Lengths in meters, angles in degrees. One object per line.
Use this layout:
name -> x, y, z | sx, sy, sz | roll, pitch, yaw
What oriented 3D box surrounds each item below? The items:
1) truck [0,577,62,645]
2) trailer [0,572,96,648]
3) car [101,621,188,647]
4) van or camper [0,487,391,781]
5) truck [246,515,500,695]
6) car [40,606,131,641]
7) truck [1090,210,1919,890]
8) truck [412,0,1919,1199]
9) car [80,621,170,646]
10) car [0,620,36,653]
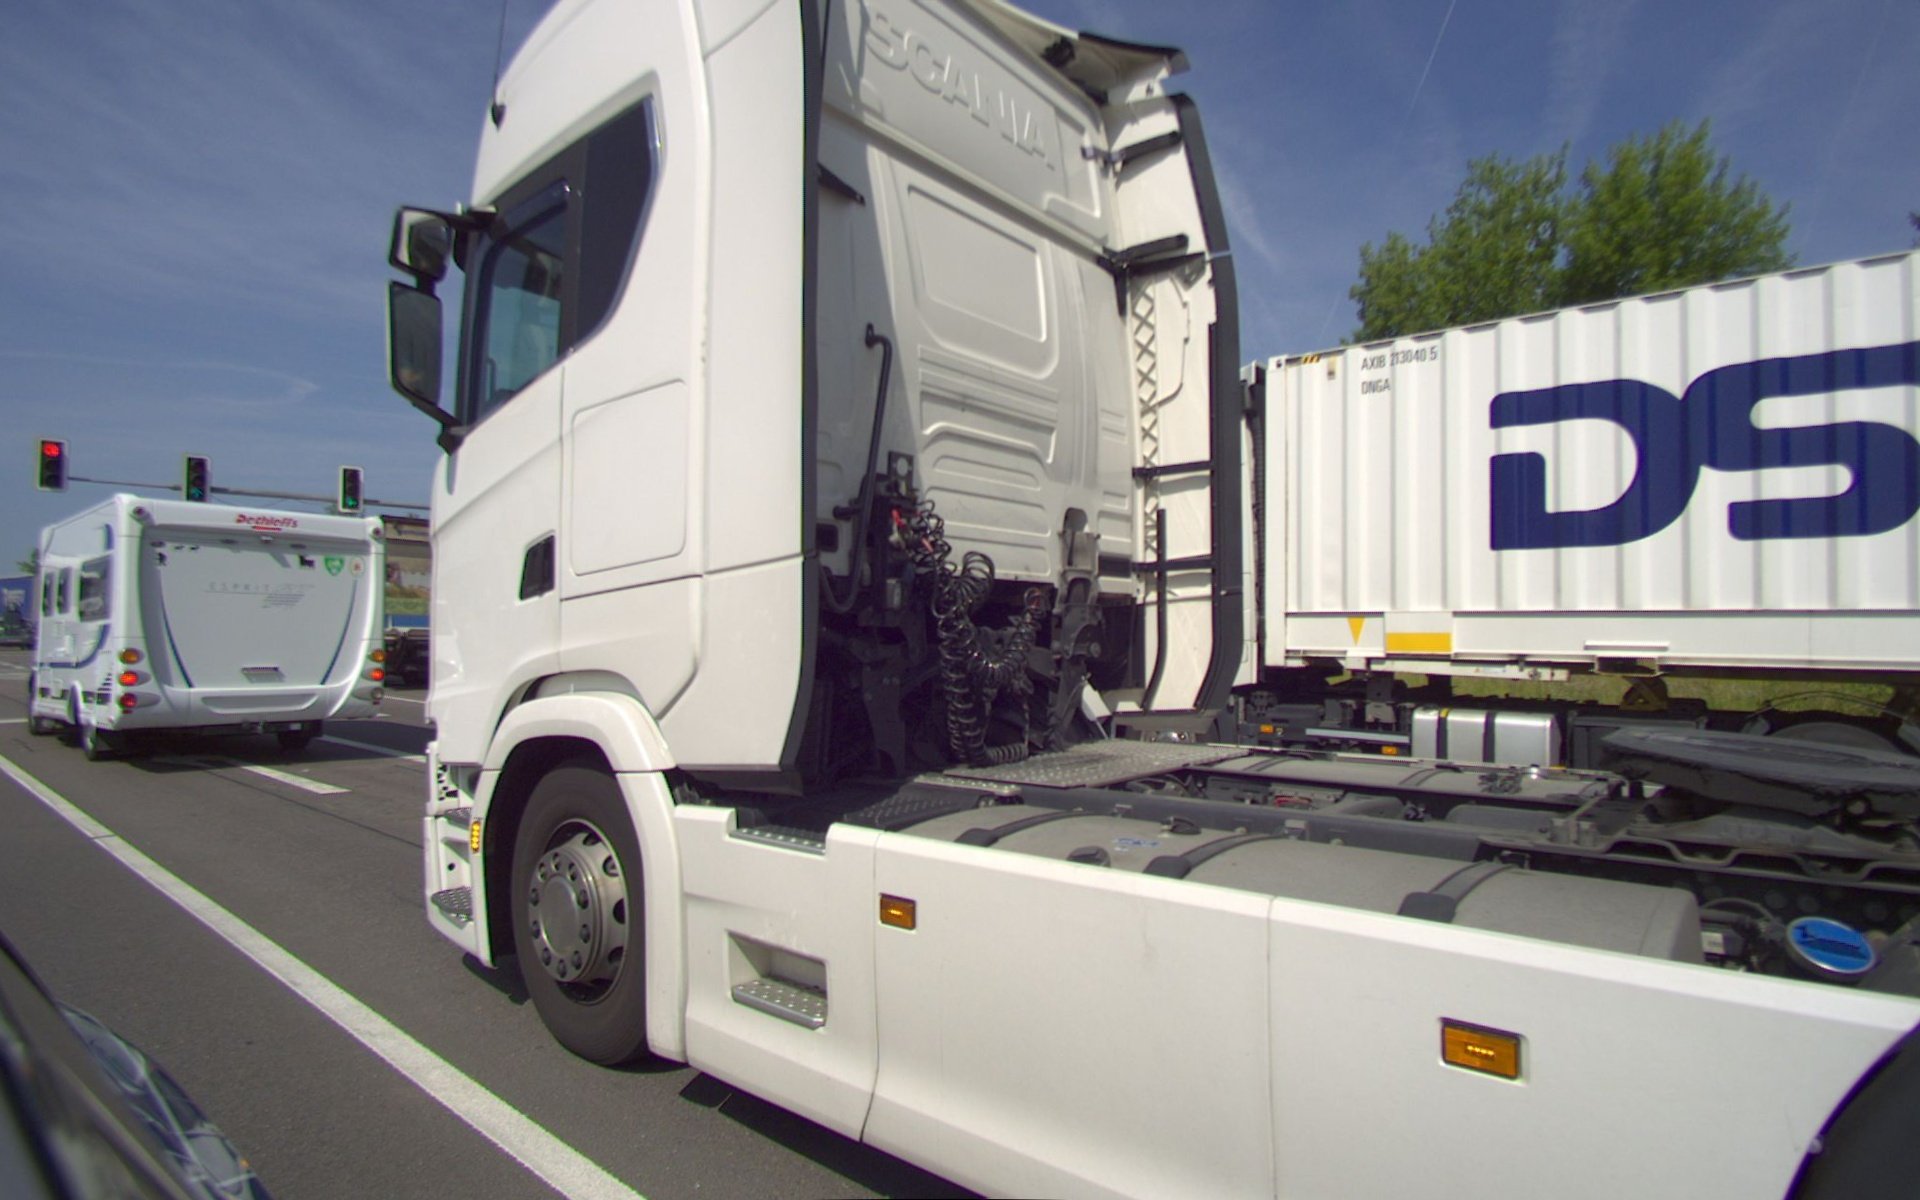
truck -> -60.090, 0.763, 64.645 | 6.341, 4.111, 3.155 | -1, -3, 40
trailer -> -54.868, 0.671, 60.149 | 14.118, 4.111, 3.061 | -1, -3, 41
car -> -54.513, 2.240, 67.792 | 1.929, 1.524, 4.713 | -1, 1, 2
van or camper -> -9.521, 0.370, 12.145 | 6.972, 2.620, 2.307 | -1, -3, 40
truck -> -15.777, 0.205, 26.750 | 9.613, 4.029, 2.701 | -1, -3, 41
car -> -74.706, 2.022, 86.509 | 2.117, 2.860, 5.644 | -2, -4, 44
truck -> 5.878, -0.262, 7.960 | 9.675, 4.147, 2.801 | -1, -3, 40
truck -> 1.053, -0.701, 3.035 | 6.260, 4.119, 2.511 | -1, -3, 40
car -> -56.856, 2.256, 69.014 | 1.871, 1.486, 4.703 | -1, 1, 9
car -> -44.907, 1.696, 47.627 | 4.000, 1.513, 1.706 | -1, -4, 43
